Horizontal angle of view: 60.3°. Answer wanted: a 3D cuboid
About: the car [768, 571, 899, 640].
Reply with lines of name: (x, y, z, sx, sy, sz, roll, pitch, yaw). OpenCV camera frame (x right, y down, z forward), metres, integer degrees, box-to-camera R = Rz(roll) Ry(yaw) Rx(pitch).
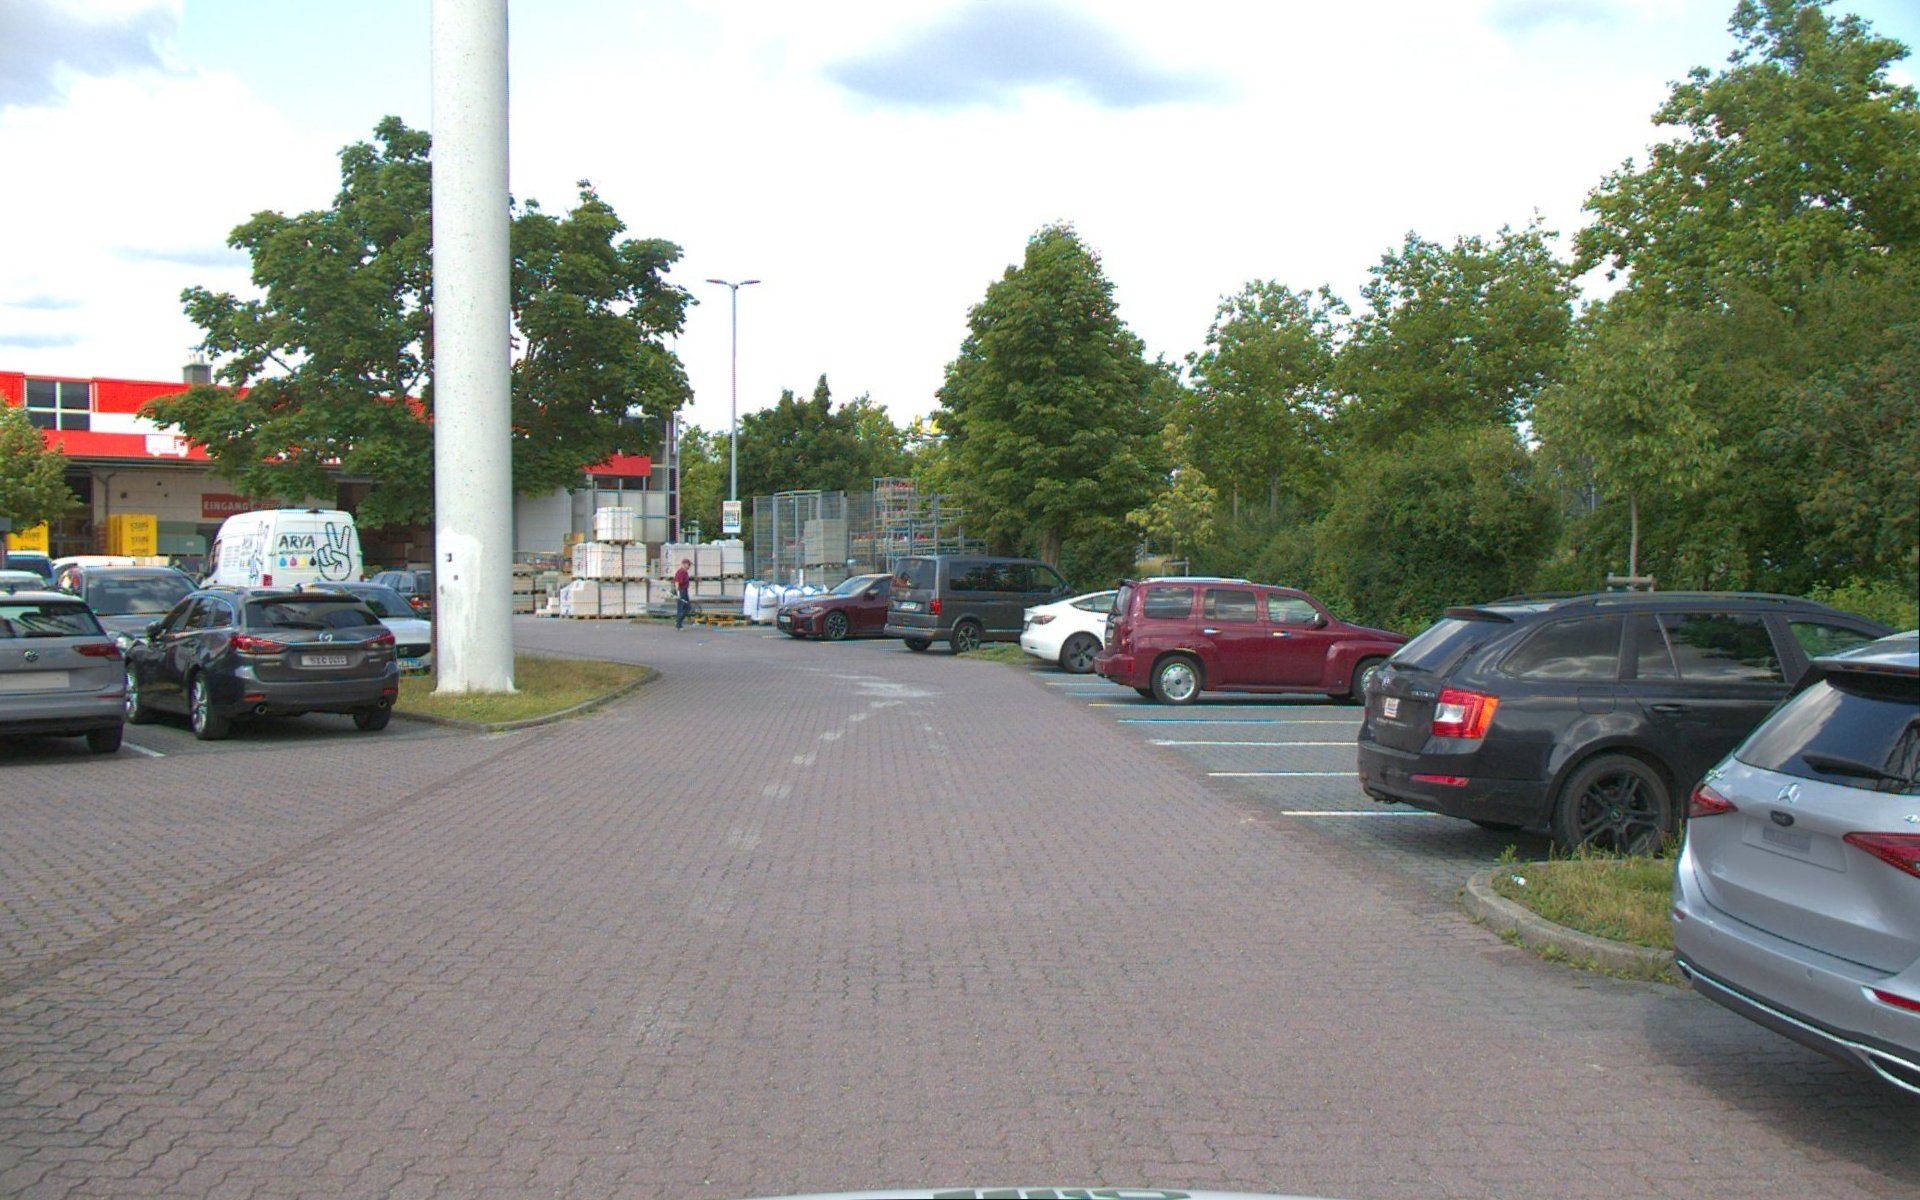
car: (-2.887, 0.148, 37.796, 2.653, 1.457, 1.340, 3, -2, -31)

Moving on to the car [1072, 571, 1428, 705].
car: (3.706, 0.460, 21.633, 4.222, 1.624, 1.998, -1, 1, -5)

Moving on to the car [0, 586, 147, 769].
car: (-8.818, 0.618, 14.948, 1.711, 1.472, 3.715, -1, 1, -42)

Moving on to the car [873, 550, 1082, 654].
car: (0.388, 0.080, 34.415, 4.009, 2.054, 1.924, 1, -1, -34)

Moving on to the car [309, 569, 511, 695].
car: (-8.016, 0.398, 23.891, 1.973, 1.646, 3.958, -1, 1, -31)

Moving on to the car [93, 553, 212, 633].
car: (-22.498, -0.173, 46.020, 1.982, 2.049, 3.940, 3, -2, -41)

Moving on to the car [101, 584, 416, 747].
car: (-7.355, 0.580, 17.147, 1.812, 1.464, 4.028, -1, 1, -42)

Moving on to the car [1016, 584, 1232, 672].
car: (2.827, 0.481, 29.045, 3.561, 1.494, 1.632, 0, -1, -4)

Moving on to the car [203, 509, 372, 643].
car: (-13.835, -0.502, 33.896, 2.032, 2.554, 4.665, 1, 1, -38)

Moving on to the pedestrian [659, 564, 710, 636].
pedestrian: (-6.629, -0.003, 39.823, 0.901, 1.695, 0.784, 0, 0, 24)

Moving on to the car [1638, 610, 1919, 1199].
car: (4.563, 0.797, 4.741, 4.548, 1.531, 1.783, -1, 1, -5)

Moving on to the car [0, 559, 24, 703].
car: (-12.617, 0.346, 19.724, 1.892, 1.624, 3.942, -1, 1, -40)

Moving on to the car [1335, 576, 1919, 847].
car: (4.372, 0.634, 9.698, 3.909, 1.405, 1.697, 1, -2, -5)

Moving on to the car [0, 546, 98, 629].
car: (-24.386, -0.302, 43.648, 1.982, 2.049, 3.940, 3, -2, -41)
